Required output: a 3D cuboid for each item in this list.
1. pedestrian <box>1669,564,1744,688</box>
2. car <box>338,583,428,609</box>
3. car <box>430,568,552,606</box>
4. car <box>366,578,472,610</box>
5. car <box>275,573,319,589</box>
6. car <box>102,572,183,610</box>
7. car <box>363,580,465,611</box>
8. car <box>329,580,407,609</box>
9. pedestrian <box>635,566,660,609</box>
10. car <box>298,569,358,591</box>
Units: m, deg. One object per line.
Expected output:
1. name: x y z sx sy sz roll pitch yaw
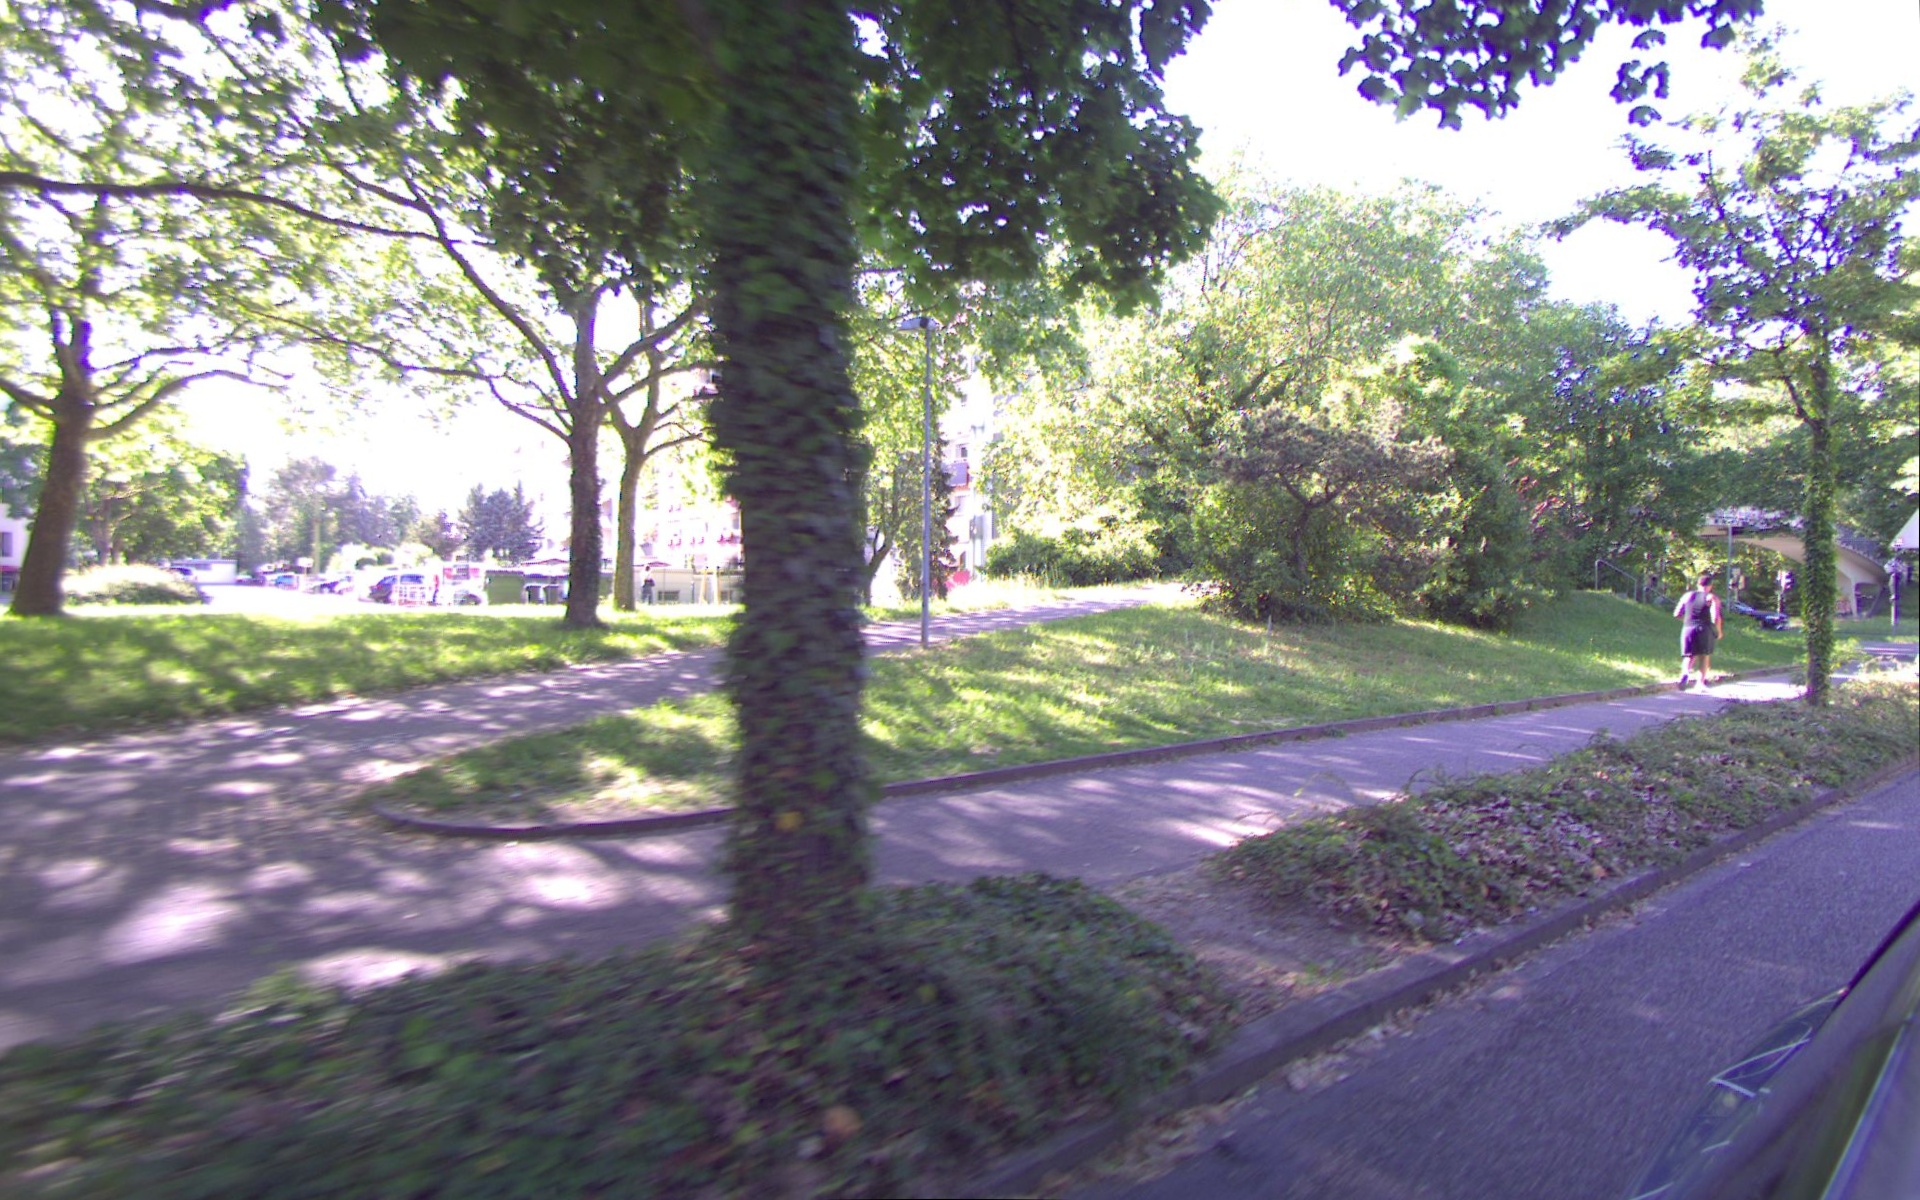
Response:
1. pedestrian: 11.527 0.390 15.628 0.659 1.855 0.793 0 0 -37
2. car: -31.922 -0.209 56.037 4.081 1.383 1.746 0 -1 -40
3. car: -17.060 -0.451 36.876 3.788 1.310 1.541 0 -1 -40
4. car: -24.851 -0.258 46.550 4.081 1.383 1.746 0 -1 -40
5. car: -71.266 -2.012 108.746 3.924 1.644 1.999 0 -1 -35
6. car: -52.058 -0.557 64.475 3.930 2.321 1.996 0 -1 -41
7. car: -26.223 -0.204 48.658 4.081 1.383 1.746 0 -1 -40
8. car: -35.893 -0.328 61.380 3.924 1.644 1.999 0 -1 -35
9. pedestrian: -11.844 -0.453 38.314 0.619 1.609 0.675 -1 -1 22
10. car: -49.701 -1.528 79.615 3.924 1.644 1.999 0 -1 -35
